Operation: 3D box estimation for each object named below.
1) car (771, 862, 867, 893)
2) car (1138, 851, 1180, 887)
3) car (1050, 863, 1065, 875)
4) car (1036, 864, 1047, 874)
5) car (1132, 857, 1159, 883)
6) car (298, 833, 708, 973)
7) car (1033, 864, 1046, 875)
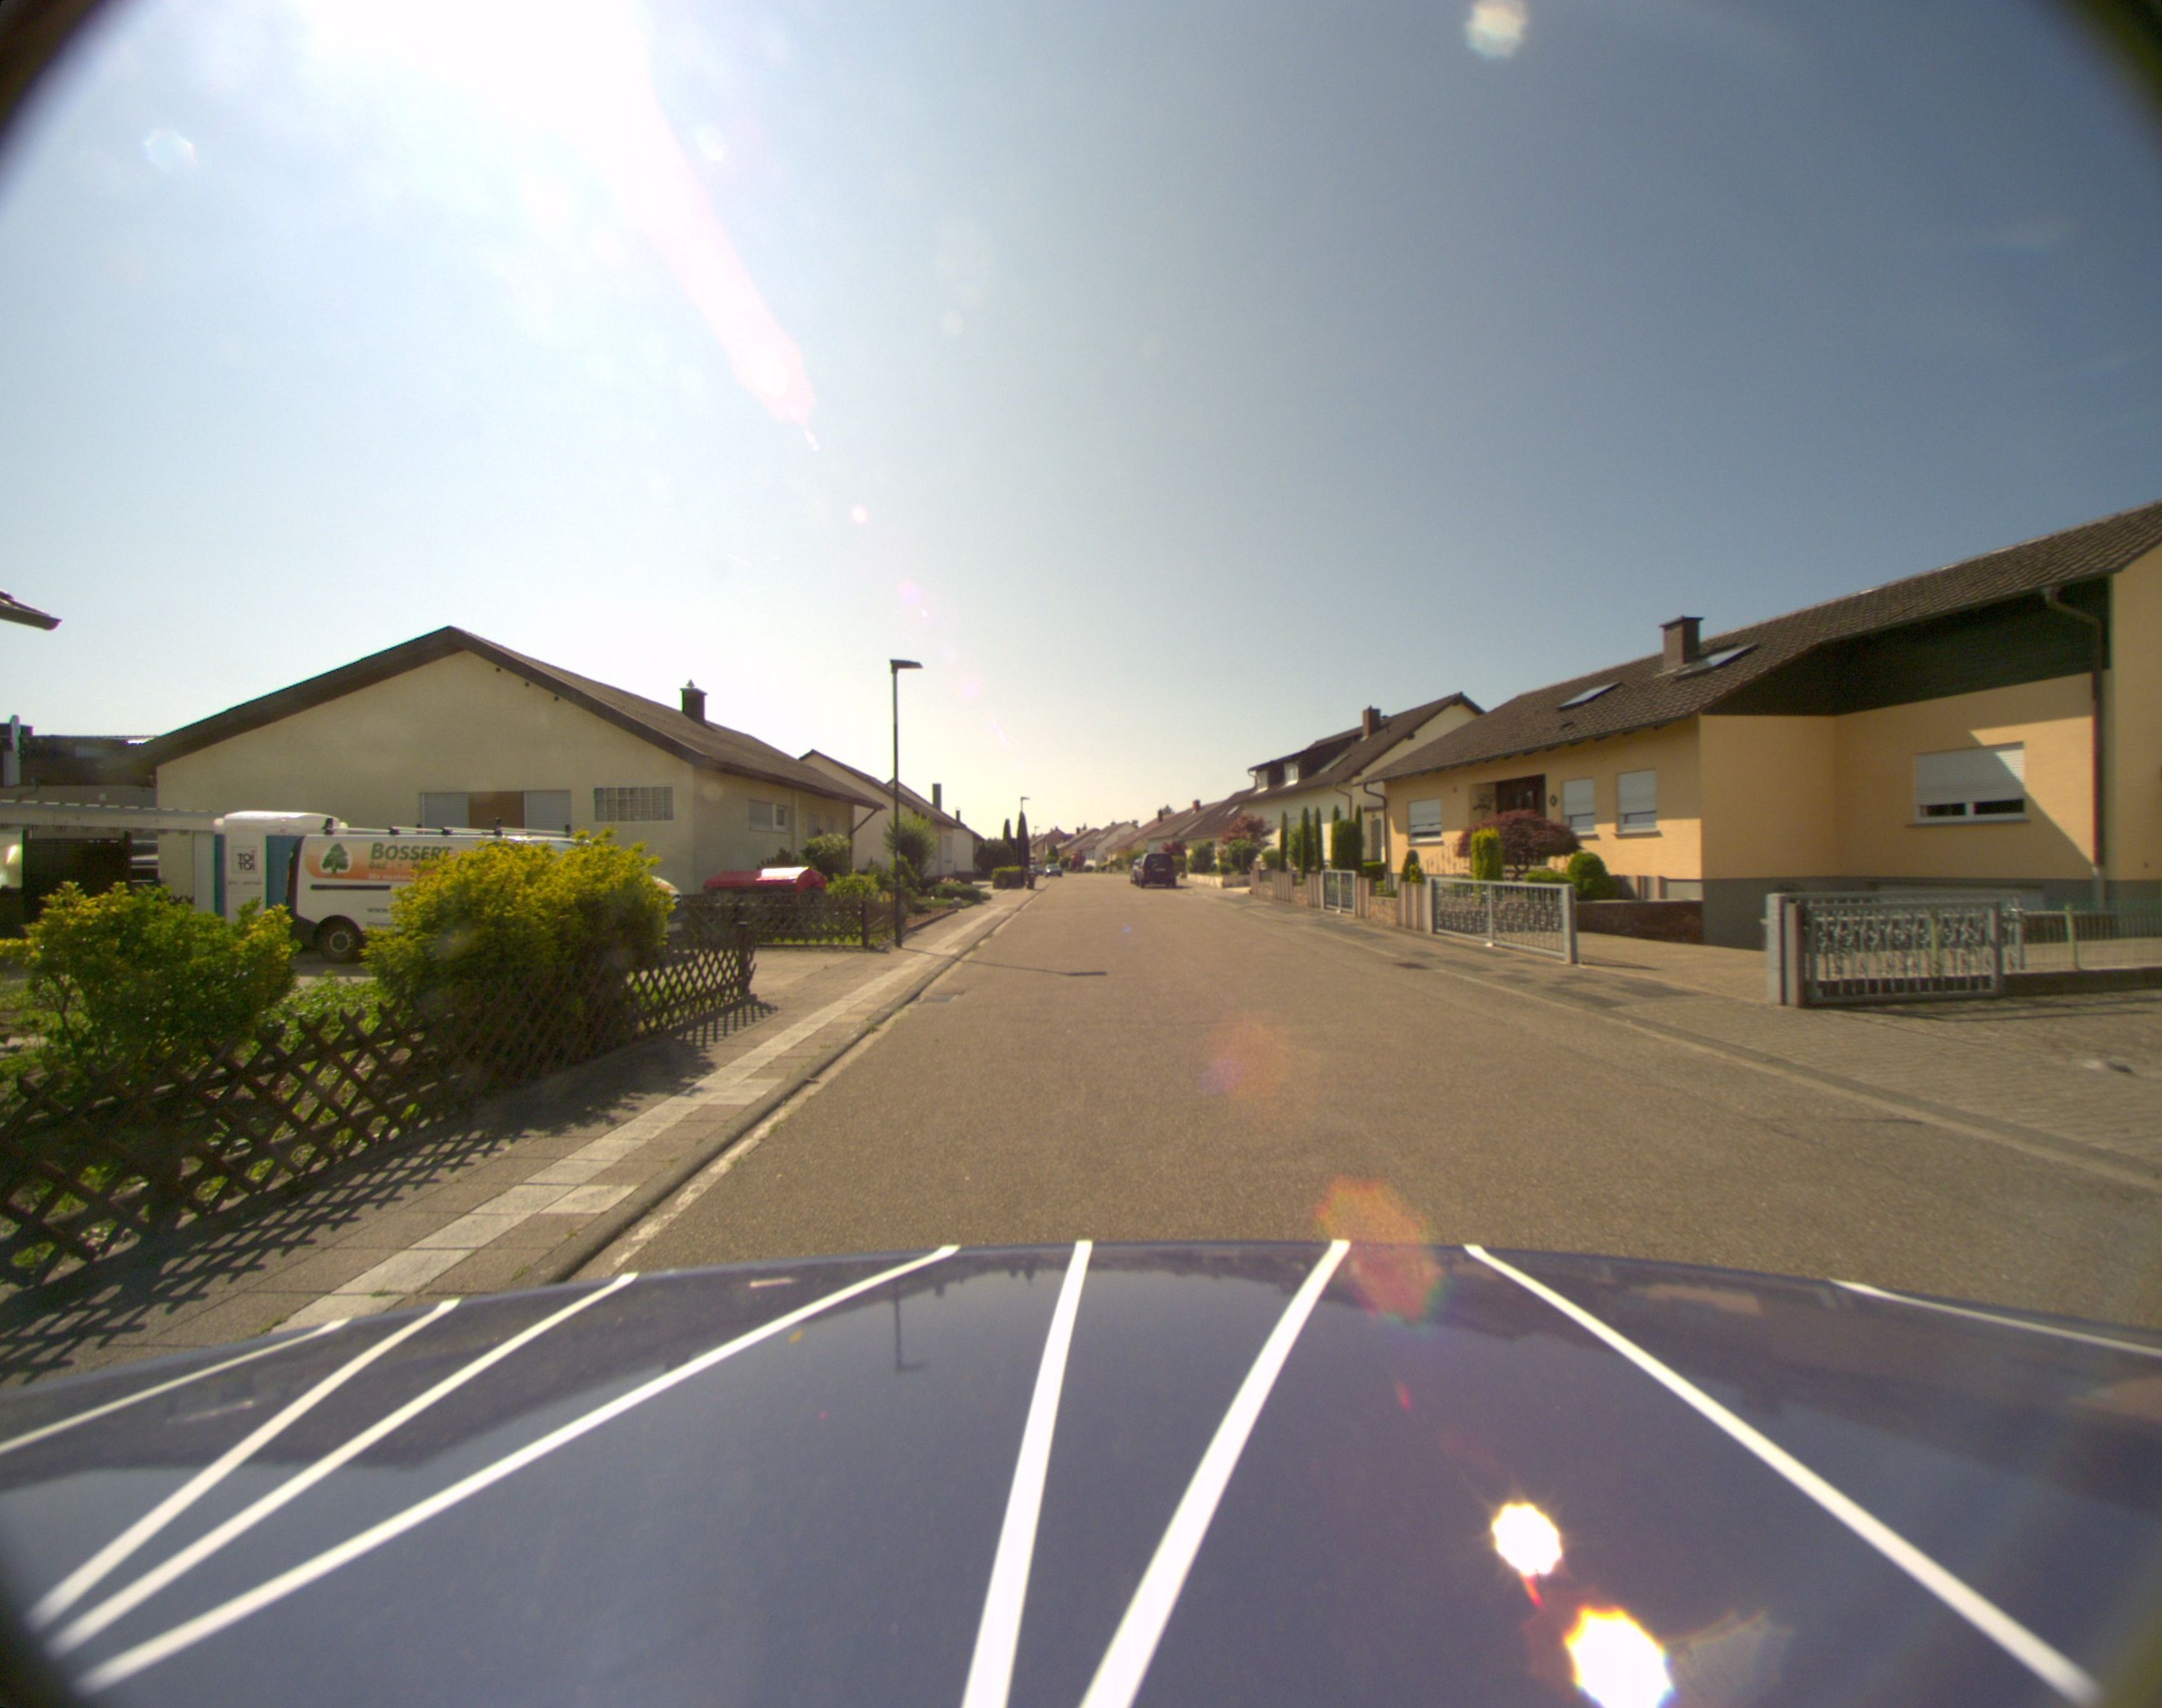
[{"bbox_3d":[-12.422,1.102,36.171,3.999,1.414,1.693,0,0,-5],"label":"car"},{"bbox_3d":[3.972,0.743,39.278,1.769,1.767,3.652,-1,0,0],"label":"car"},{"bbox_3d":[-2.648,1.636,83.951,1.459,1.270,3.102,0,0,-6],"label":"car"},{"bbox_3d":[-5.510,2.117,106.713,1.459,1.270,3.102,0,0,-5],"label":"car"},{"bbox_3d":[3.771,0.933,44.585,1.305,1.415,3.103,-1,0,0],"label":"car"},{"bbox_3d":[-8.811,0.715,11.891,5.008,2.002,1.868,0,0,2],"label":"car"},{"bbox_3d":[-5.278,1.976,96.618,1.459,1.270,3.101,0,0,-7],"label":"car"}]
